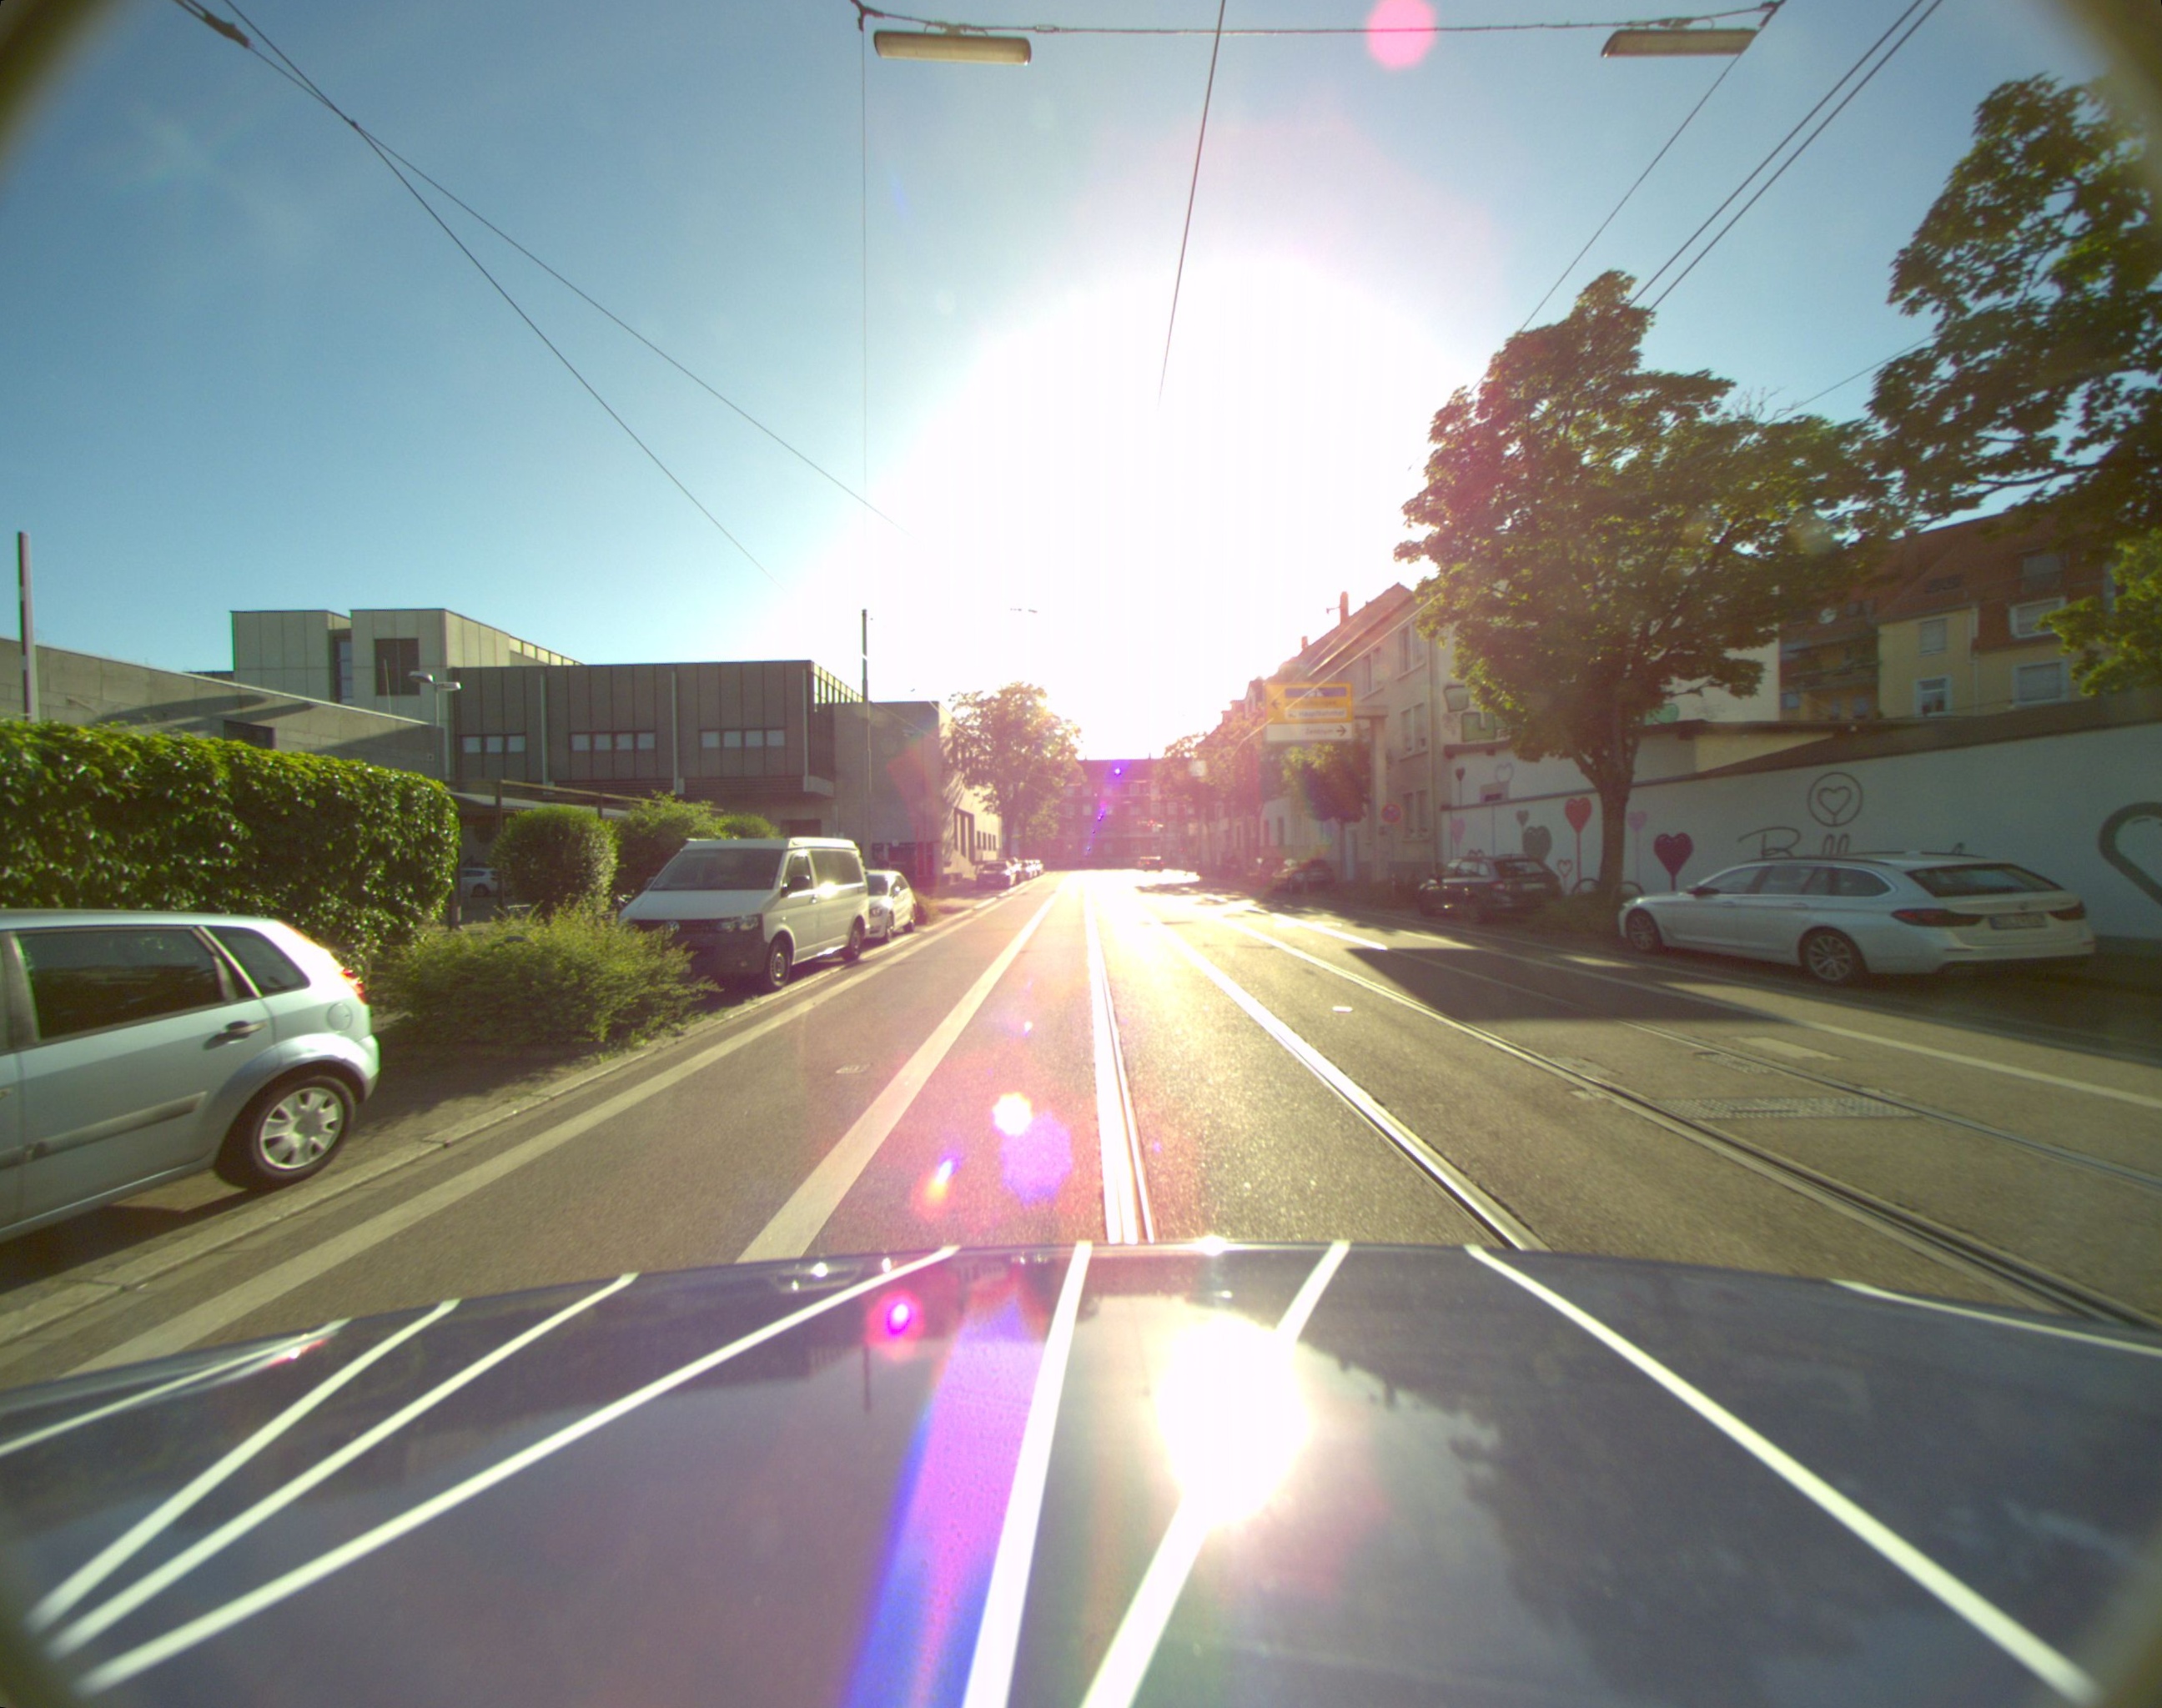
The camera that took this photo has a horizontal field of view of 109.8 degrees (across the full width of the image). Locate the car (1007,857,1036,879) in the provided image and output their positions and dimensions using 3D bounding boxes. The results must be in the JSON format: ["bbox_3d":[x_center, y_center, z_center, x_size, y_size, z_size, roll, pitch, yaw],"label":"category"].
[{"bbox_3d":[-4.265,0.986,55.136,1.717,1.481,4.623,0,0,0],"label":"car"}]

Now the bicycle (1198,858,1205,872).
[{"bbox_3d":[9.353,0.873,58.926,0.303,1.036,1.661,-2,1,1],"label":"bicycle"}]

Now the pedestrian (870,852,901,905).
[{"bbox_3d":[-6.823,0.832,26.562,0.672,1.779,1.304,3,1,0],"label":"pedestrian"}]

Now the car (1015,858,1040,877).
[{"bbox_3d":[-4.299,1.060,61.284,1.713,1.399,4.328,0,0,0],"label":"car"}]

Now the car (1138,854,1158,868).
[{"bbox_3d":[7.829,0.770,89.282,1.923,1.516,4.000,-2,0,1],"label":"car"}]

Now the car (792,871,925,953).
[{"bbox_3d":[-4.651,1.150,16.588,1.680,1.409,4.501,0,0,-1],"label":"car"}]

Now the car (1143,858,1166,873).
[{"bbox_3d":[7.428,1.127,76.811,1.770,1.455,4.746,0,1,-1],"label":"car"}]

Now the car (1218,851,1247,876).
[{"bbox_3d":[9.930,0.650,49.947,1.358,1.493,2.548,-2,-2,1],"label":"car"}]

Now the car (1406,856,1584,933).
[{"bbox_3d":[9.394,0.836,17.707,1.777,1.477,4.305,-2,0,0],"label":"car"}]

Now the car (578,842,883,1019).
[{"bbox_3d":[-4.647,0.851,11.197,1.858,1.980,5.242,-1,0,2],"label":"car"}]

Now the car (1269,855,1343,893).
[{"bbox_3d":[9.601,0.824,32.760,1.878,1.420,4.292,-2,0,1],"label":"car"}]

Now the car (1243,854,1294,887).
[{"bbox_3d":[9.488,0.802,38.760,1.576,1.496,4.000,-2,0,1],"label":"car"}]

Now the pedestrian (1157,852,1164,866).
[{"bbox_3d":[9.716,0.594,92.845,0.640,1.764,0.583,-2,1,0],"label":"pedestrian"}]

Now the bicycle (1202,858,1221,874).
[{"bbox_3d":[9.864,0.881,57.614,1.344,1.162,0.409,-2,1,1],"label":"bicycle"}]

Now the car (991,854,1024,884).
[{"bbox_3d":[-4.544,0.879,47.533,1.746,1.702,4.276,-2,0,-2],"label":"car"}]

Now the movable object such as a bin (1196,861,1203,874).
[{"bbox_3d":[9.384,1.069,60.286,0.425,0.930,0.582,-2,1,1],"label":"movable object such as a bin"}]

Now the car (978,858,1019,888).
[{"bbox_3d":[-4.527,0.998,42.119,1.707,1.473,4.658,1,0,0],"label":"car"}]

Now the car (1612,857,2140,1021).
[{"bbox_3d":[9.387,0.834,9.738,1.869,1.482,4.661,-2,0,0],"label":"car"}]

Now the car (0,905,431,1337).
[{"bbox_3d":[-4.965,1.090,2.564,1.877,1.464,4.075,-2,0,2],"label":"car"}]
